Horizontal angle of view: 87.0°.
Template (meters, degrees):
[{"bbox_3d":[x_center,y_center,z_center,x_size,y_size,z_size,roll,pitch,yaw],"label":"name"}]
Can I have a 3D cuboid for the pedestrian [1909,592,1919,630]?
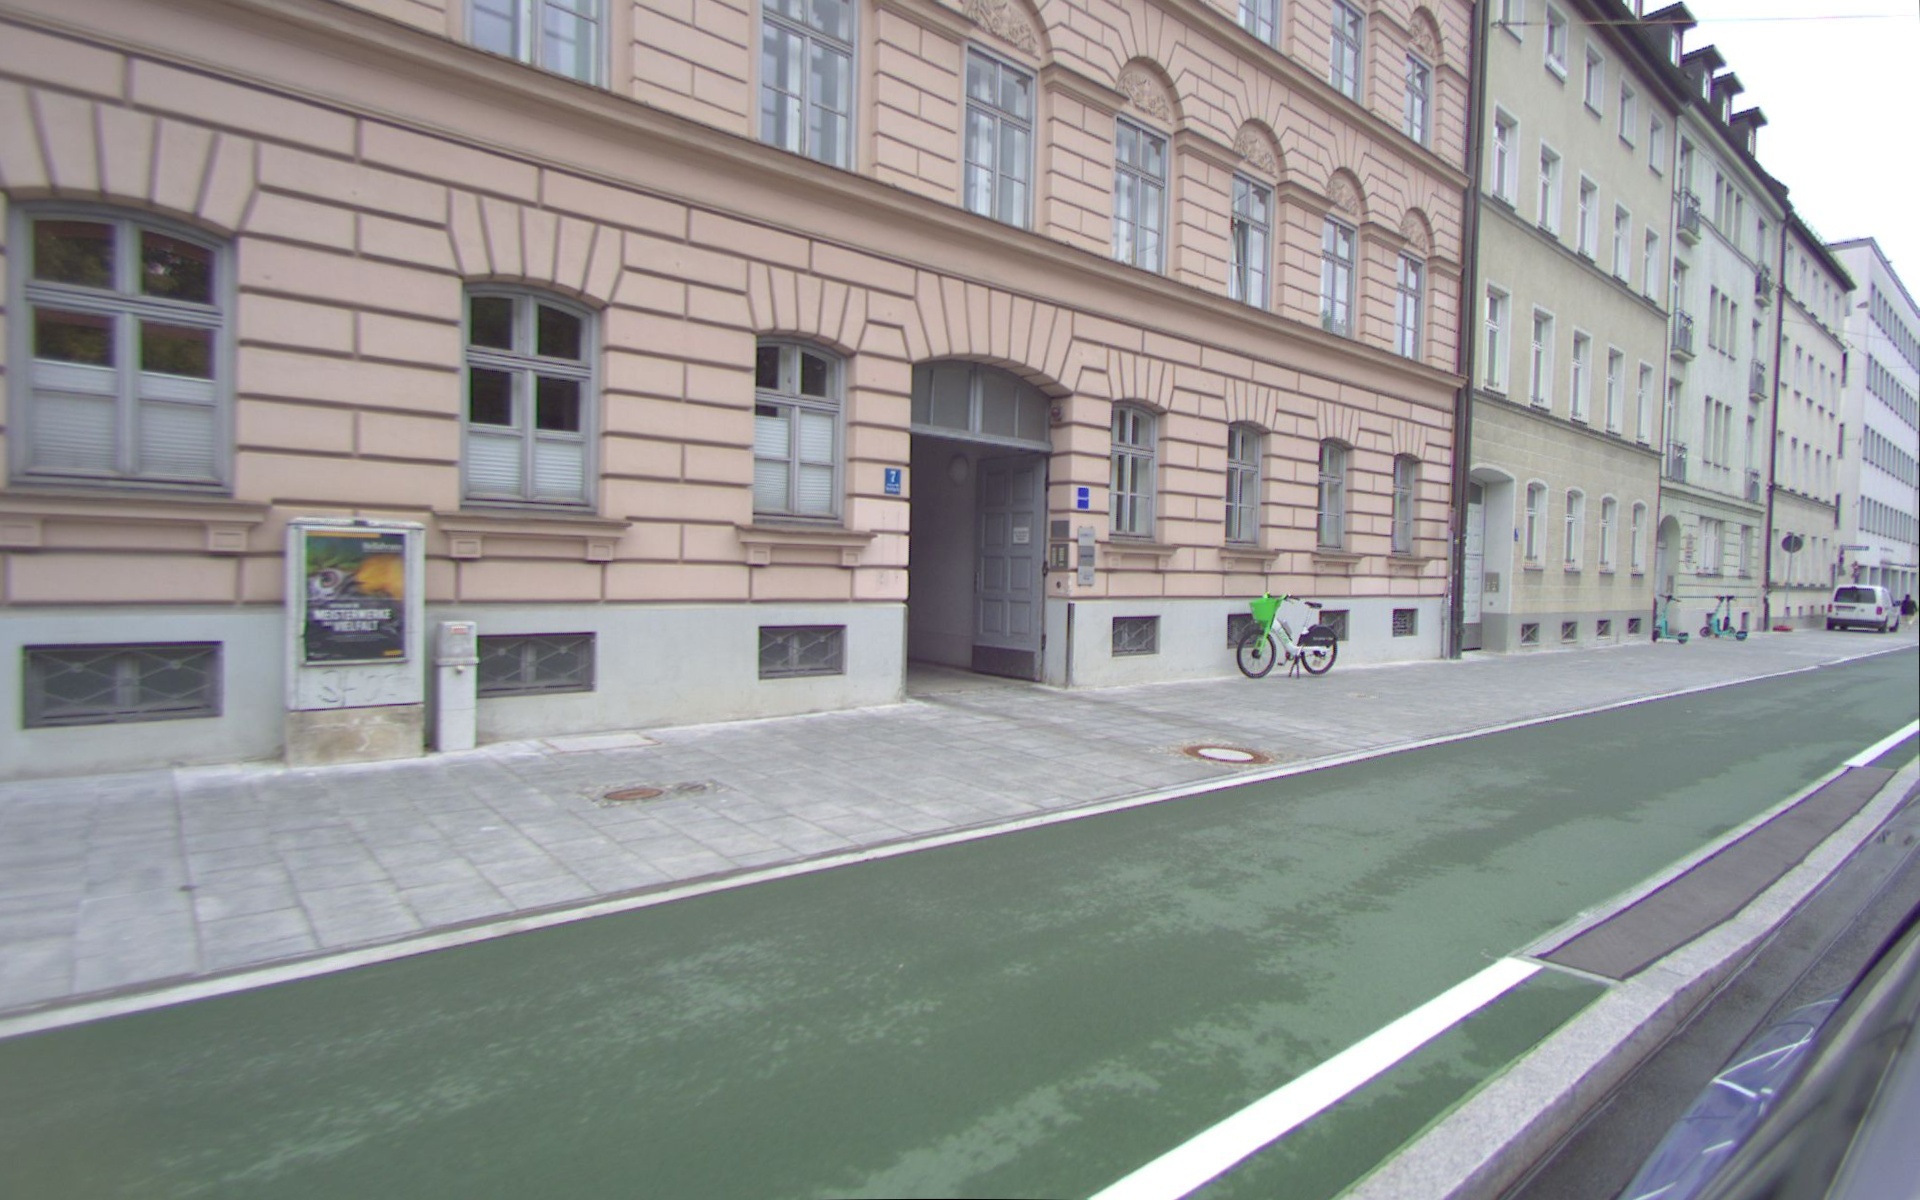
[{"bbox_3d":[43.370,0.507,45.675,0.724,1.655,0.666,1,3,-41],"label":"pedestrian"}]

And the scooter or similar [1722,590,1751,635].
[{"bbox_3d":[22.762,0.351,29.648,1.100,1.288,0.387,-1,4,-41],"label":"scooter or similar"}]

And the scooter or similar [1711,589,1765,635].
[{"bbox_3d":[22.126,0.336,28.790,1.104,1.246,0.246,3,3,17],"label":"scooter or similar"}]

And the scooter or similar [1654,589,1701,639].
[{"bbox_3d":[18.338,0.351,25.861,1.096,1.246,0.248,1,3,-15],"label":"scooter or similar"}]

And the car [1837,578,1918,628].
[{"bbox_3d":[35.902,0.094,39.549,4.357,1.771,1.737,0,3,-41],"label":"car"}]

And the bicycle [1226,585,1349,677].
[{"bbox_3d":[4.500,0.418,13.883,1.695,1.188,0.428,1,2,-23],"label":"bicycle"}]
